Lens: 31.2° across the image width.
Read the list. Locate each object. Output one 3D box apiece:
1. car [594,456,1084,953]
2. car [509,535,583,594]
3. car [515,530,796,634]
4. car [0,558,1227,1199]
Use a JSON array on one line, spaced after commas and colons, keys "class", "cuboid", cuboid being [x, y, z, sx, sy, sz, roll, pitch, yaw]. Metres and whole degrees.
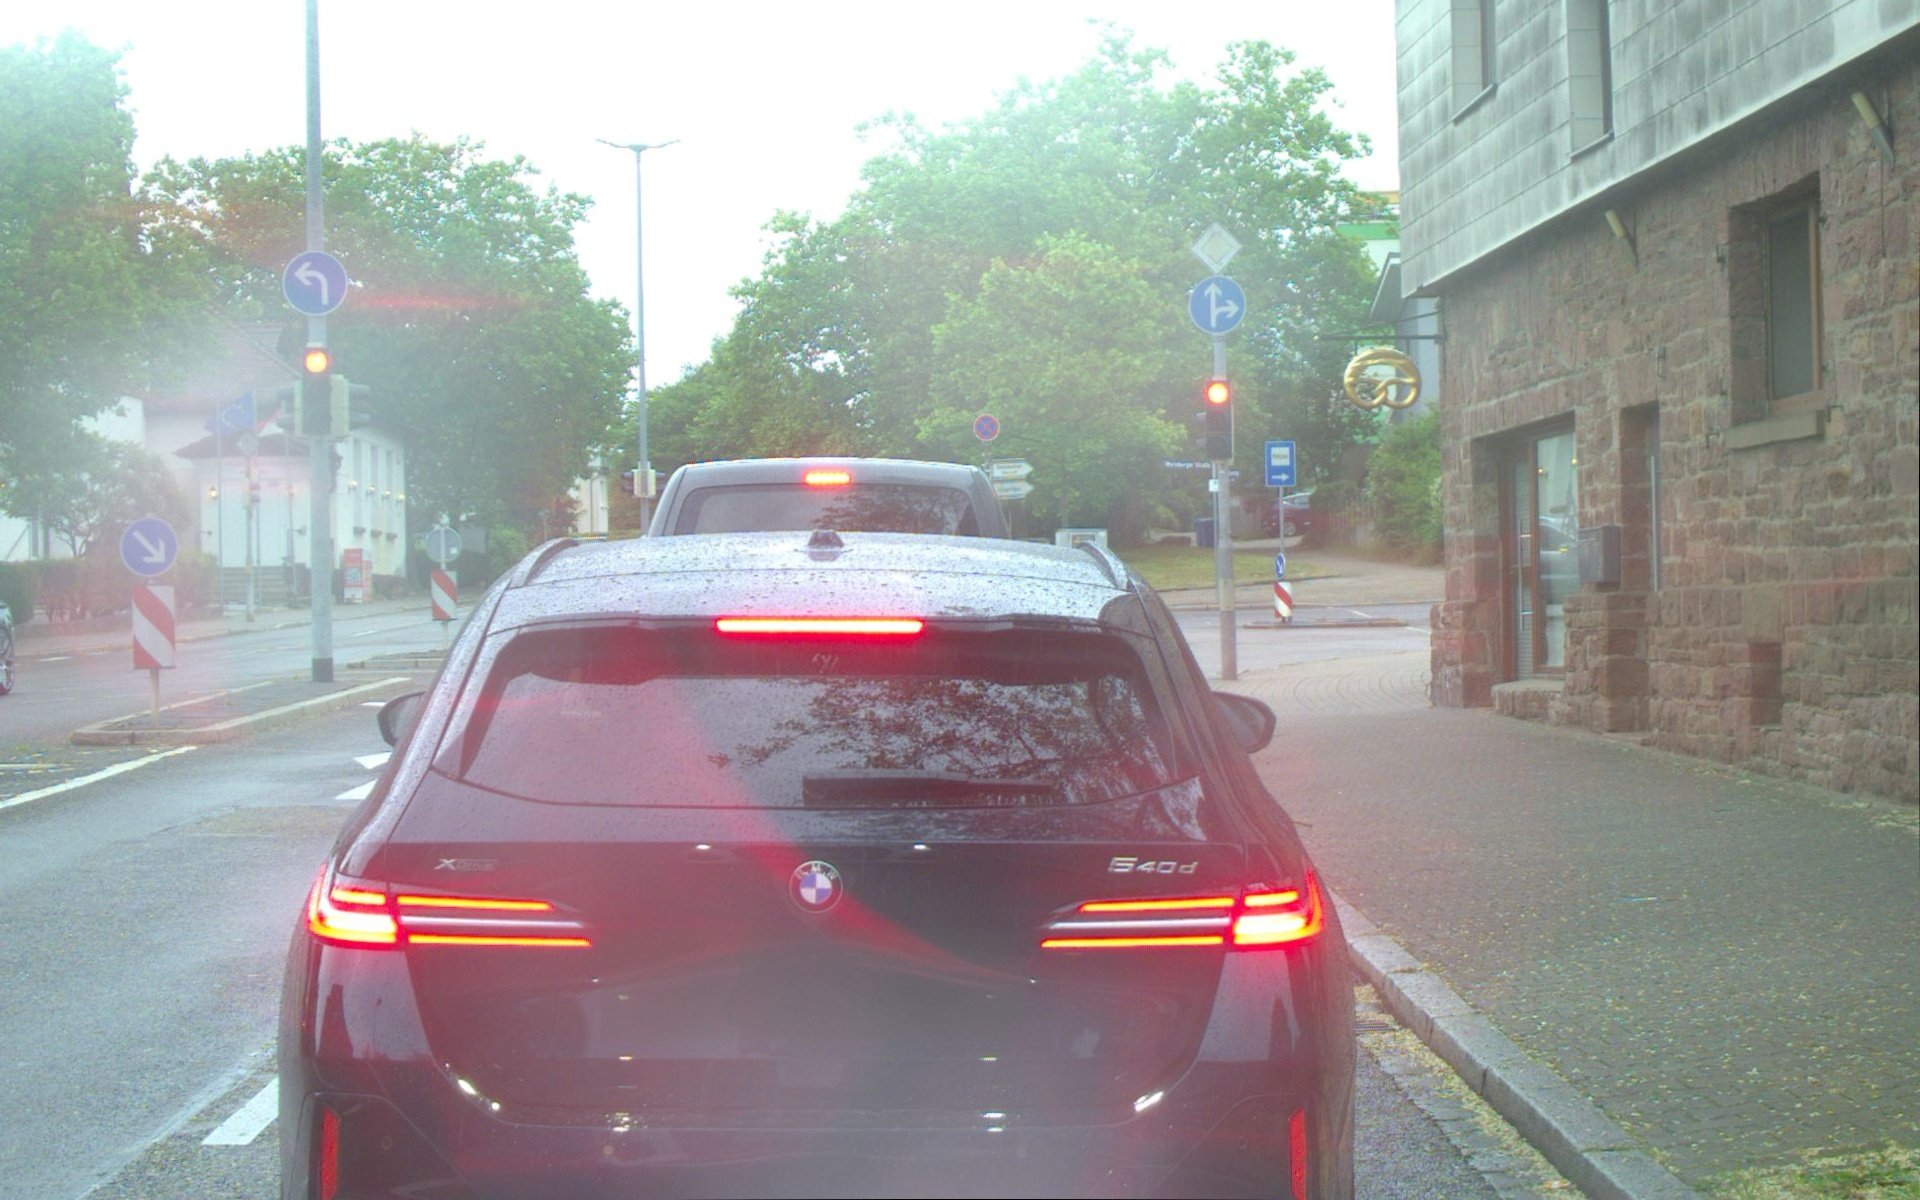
[{"class": "car", "cuboid": [-0.535, 0.335, 14.601, 1.783, 1.811, 4.001, 0, 1, -3]}, {"class": "car", "cuboid": [-10.119, -0.883, 84.197, 1.464, 1.393, 3.322, 0, 1, -1]}, {"class": "car", "cuboid": [-4.736, -0.314, 53.712, 3.987, 1.546, 1.824, -1, 2, -35]}, {"class": "car", "cuboid": [-0.753, 0.647, 7.415, 2.064, 1.441, 4.484, 0, 1, -3]}]
